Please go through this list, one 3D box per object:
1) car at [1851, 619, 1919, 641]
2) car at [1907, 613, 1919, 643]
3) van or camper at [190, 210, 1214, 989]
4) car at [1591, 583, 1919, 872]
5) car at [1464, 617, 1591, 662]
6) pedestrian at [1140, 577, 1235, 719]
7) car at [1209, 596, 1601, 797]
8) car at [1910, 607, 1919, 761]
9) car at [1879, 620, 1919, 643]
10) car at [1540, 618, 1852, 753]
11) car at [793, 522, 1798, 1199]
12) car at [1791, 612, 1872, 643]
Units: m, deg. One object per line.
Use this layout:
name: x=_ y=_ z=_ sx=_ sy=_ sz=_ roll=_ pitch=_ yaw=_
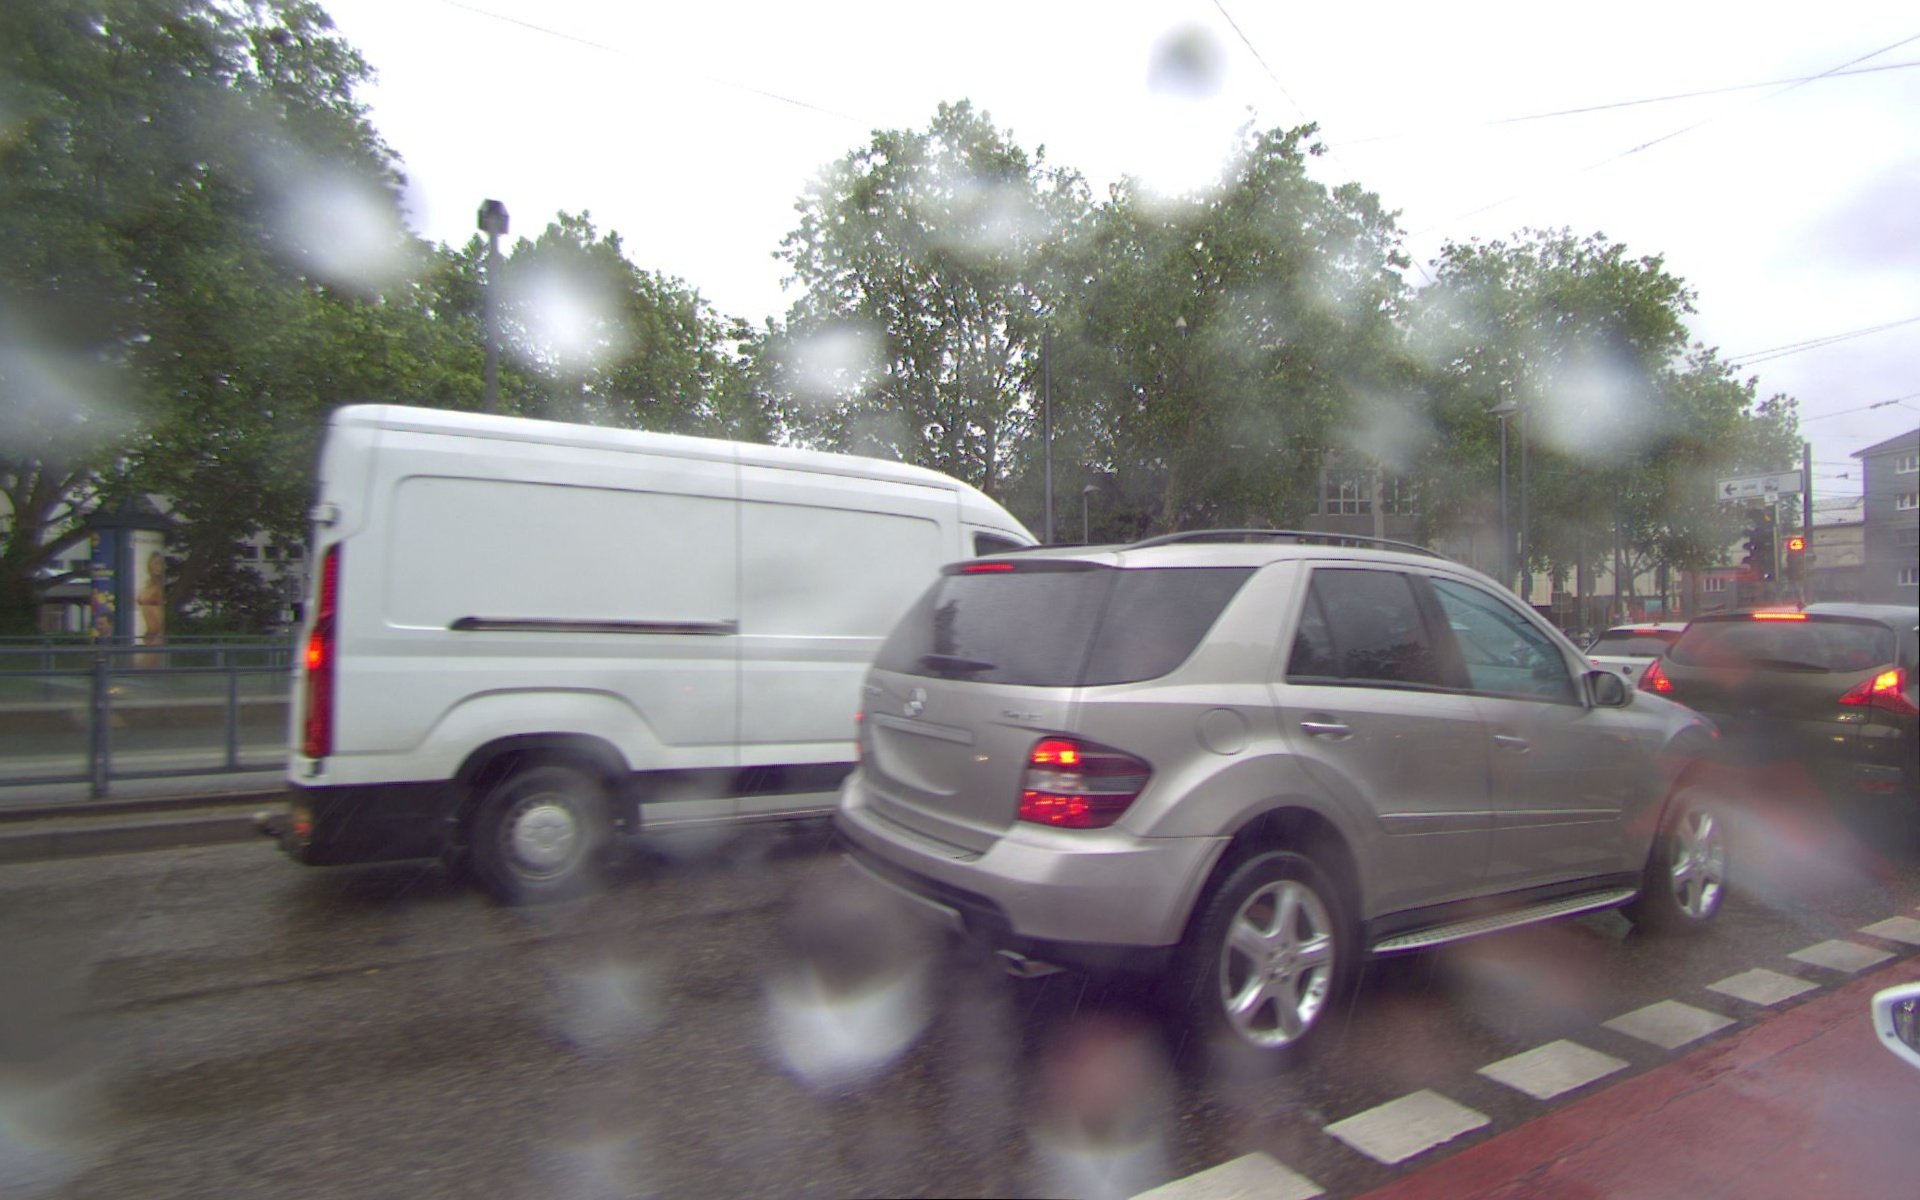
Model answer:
car: x=68.492 y=2.189 z=74.051 sx=3.922 sy=1.516 sz=1.959 roll=0 pitch=1 yaw=-2
car: x=67.836 y=1.974 z=68.893 sx=3.922 sy=2.040 sz=1.999 roll=1 pitch=0 yaw=-2
van or camper: x=-1.203 y=0.056 z=6.550 sx=5.785 sy=3.183 sz=2.147 roll=1 pitch=-1 yaw=-32
car: x=6.945 y=0.779 z=7.719 sx=4.123 sy=1.690 sz=1.826 roll=1 pitch=0 yaw=-30
car: x=18.249 y=1.265 z=32.322 sx=3.465 sy=1.332 sz=1.594 roll=1 pitch=0 yaw=-16
pedestrian: x=2.962 y=0.619 z=13.090 sx=0.888 sy=1.770 sz=0.762 roll=0 pitch=-2 yaw=-30
car: x=4.440 y=0.833 z=9.913 sx=3.791 sy=1.650 sz=1.637 roll=1 pitch=-1 yaw=-30
car: x=12.010 y=0.914 z=10.707 sx=3.775 sy=1.599 sz=1.719 roll=1 pitch=0 yaw=-30
car: x=68.310 y=2.206 z=71.588 sx=3.922 sy=1.550 sz=1.999 roll=0 pitch=0 yaw=-2
car: x=9.727 y=1.030 z=13.237 sx=3.951 sy=1.504 sz=1.836 roll=1 pitch=0 yaw=-29
car: x=1.678 y=0.726 z=4.635 sx=4.411 sy=1.794 sz=2.014 roll=1 pitch=0 yaw=-31
car: x=66.679 y=2.082 z=76.865 sx=4.697 sy=2.228 sz=1.998 roll=0 pitch=1 yaw=-6
